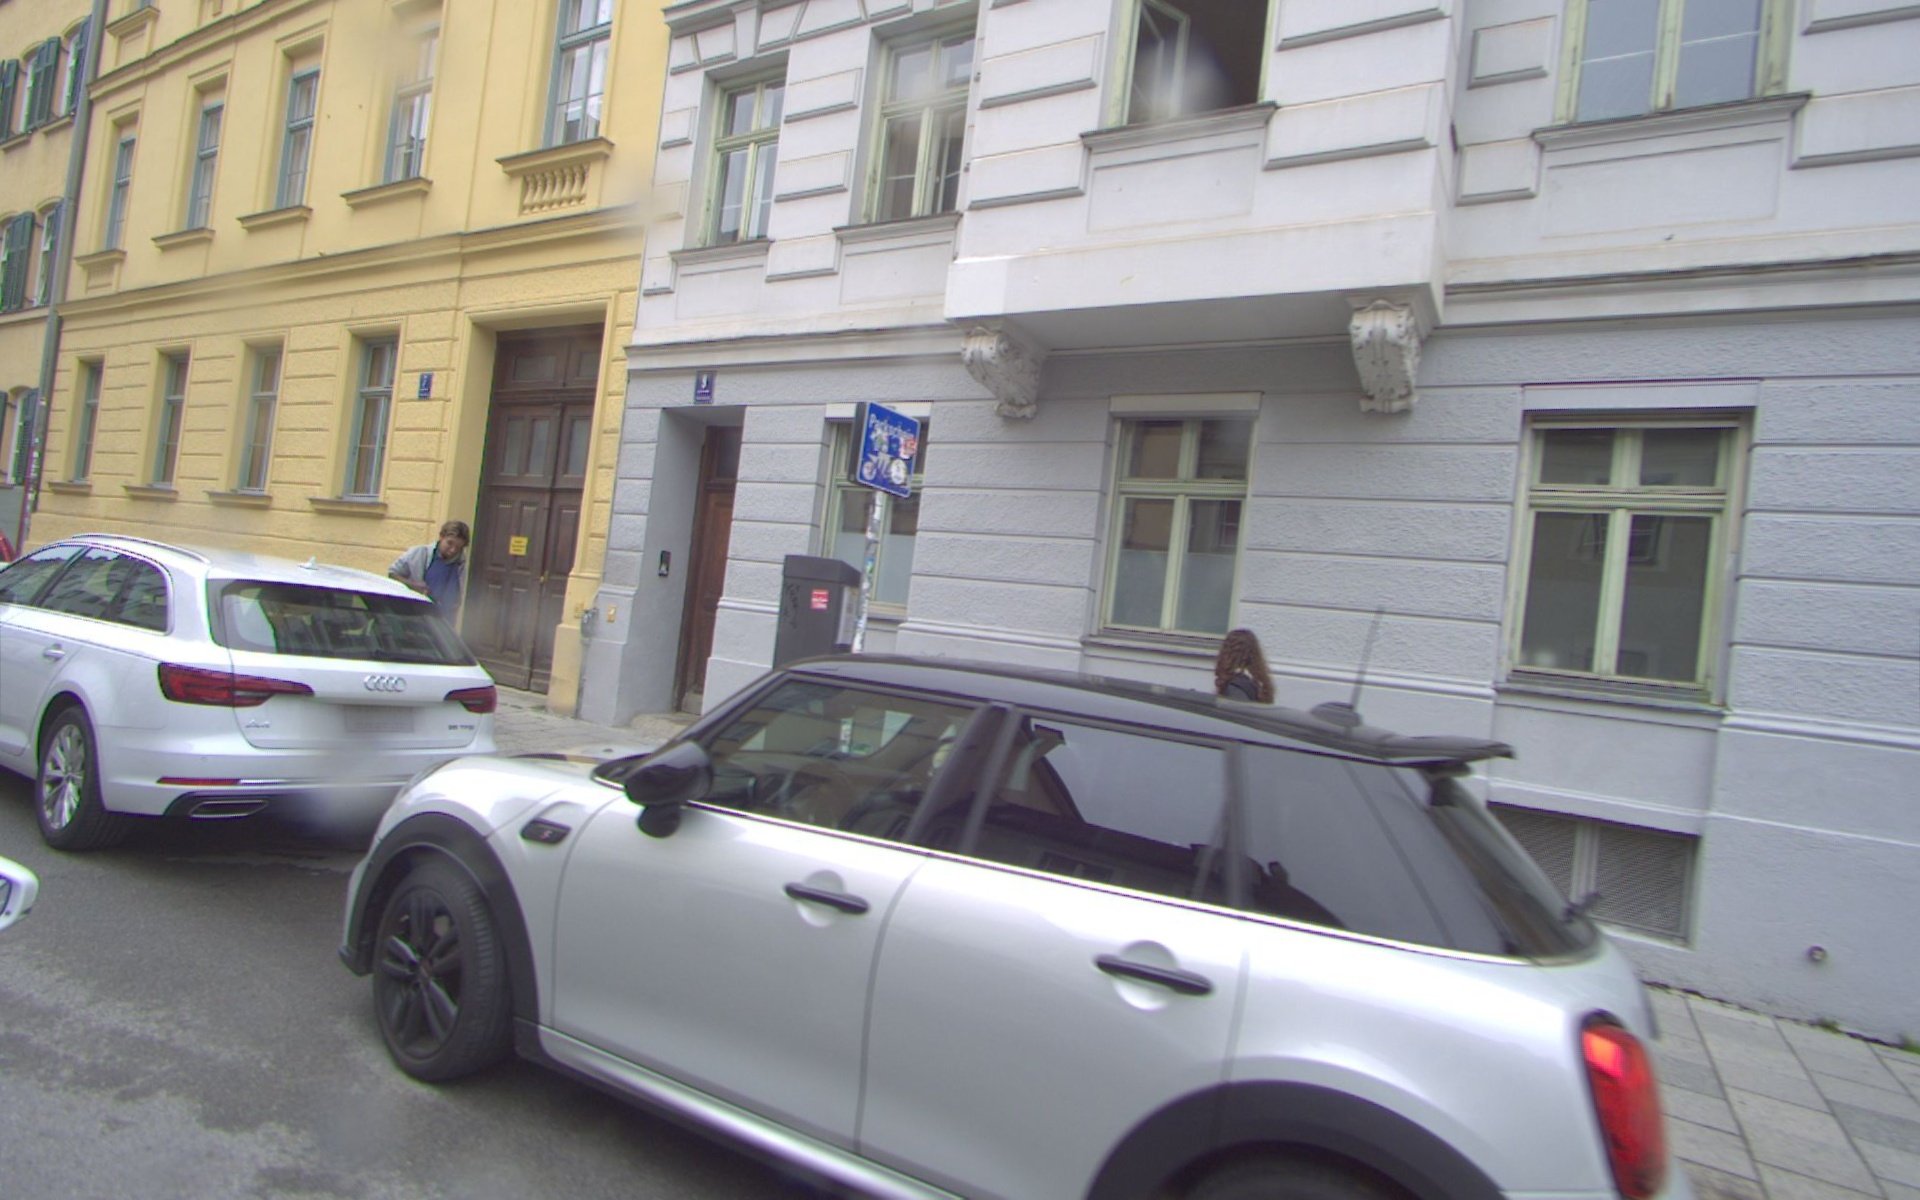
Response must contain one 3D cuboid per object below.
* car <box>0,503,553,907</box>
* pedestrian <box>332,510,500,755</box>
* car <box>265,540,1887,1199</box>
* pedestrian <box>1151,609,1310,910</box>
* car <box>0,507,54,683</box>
[{"bbox_3d":[-4.613,0.343,5.878,4.394,1.527,1.720,6,-2,31],"label":"car"},{"bbox_3d":[-4.514,0.273,8.368,0.791,1.884,0.703,7,-1,29],"label":"pedestrian"},{"bbox_3d":[-0.056,0.837,3.128,3.867,1.527,1.722,6,-2,27],"label":"car"},{"bbox_3d":[1.602,0.890,5.922,0.614,1.595,0.645,7,1,28],"label":"pedestrian"},{"bbox_3d":[-10.220,-0.265,9.257,3.698,1.527,1.627,6,-2,30],"label":"car"}]
